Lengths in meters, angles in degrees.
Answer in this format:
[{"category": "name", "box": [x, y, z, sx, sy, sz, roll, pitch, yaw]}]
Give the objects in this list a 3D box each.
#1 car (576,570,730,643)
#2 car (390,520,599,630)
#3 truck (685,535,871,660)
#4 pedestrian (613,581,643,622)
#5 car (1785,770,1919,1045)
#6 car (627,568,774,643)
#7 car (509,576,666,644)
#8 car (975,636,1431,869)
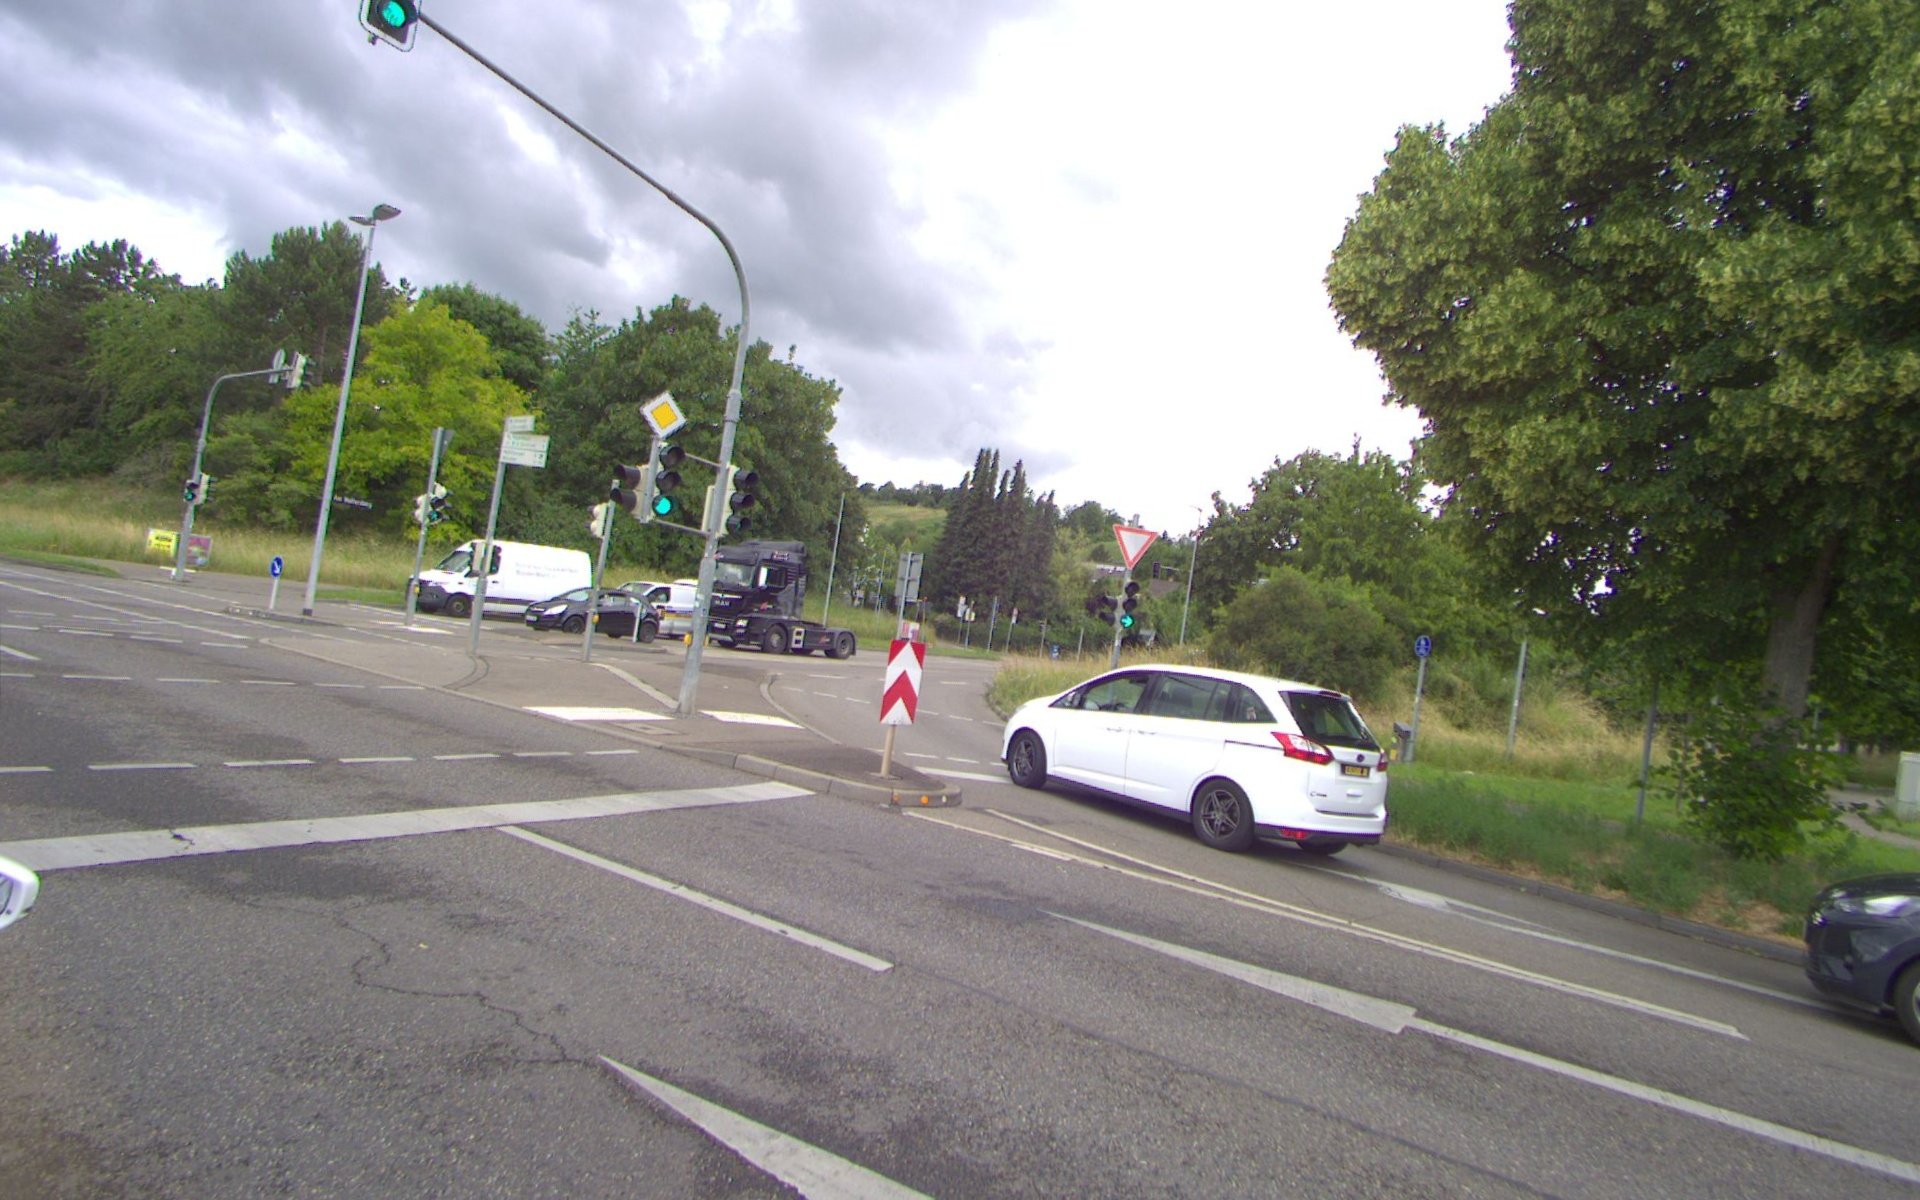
[{"category": "car", "box": [-10.599, 0.281, 35.134, 1.999, 1.918, 4.862, 7, -1, 31]}, {"category": "car", "box": [-15.338, -0.735, 33.595, 2.100, 2.814, 5.903, 7, -1, 32]}, {"category": "truck", "box": [-6.213, 0.026, 35.337, 2.682, 3.580, 6.061, 7, -1, 32]}, {"category": "pedestrian", "box": [-15.017, 0.061, 45.509, 0.803, 1.696, 0.789, 7, -1, 32]}, {"category": "car", "box": [6.933, 2.018, 5.522, 3.562, 1.445, 1.622, 6, -5, 39]}, {"category": "car", "box": [-10.427, 0.292, 40.902, 2.100, 2.316, 5.709, 7, -1, 32]}, {"category": "car", "box": [-10.608, 0.337, 28.926, 1.703, 1.453, 3.927, 7, -1, 31]}, {"category": "car", "box": [2.309, 1.473, 10.677, 1.772, 1.611, 4.414, 12, -5, -37]}]
